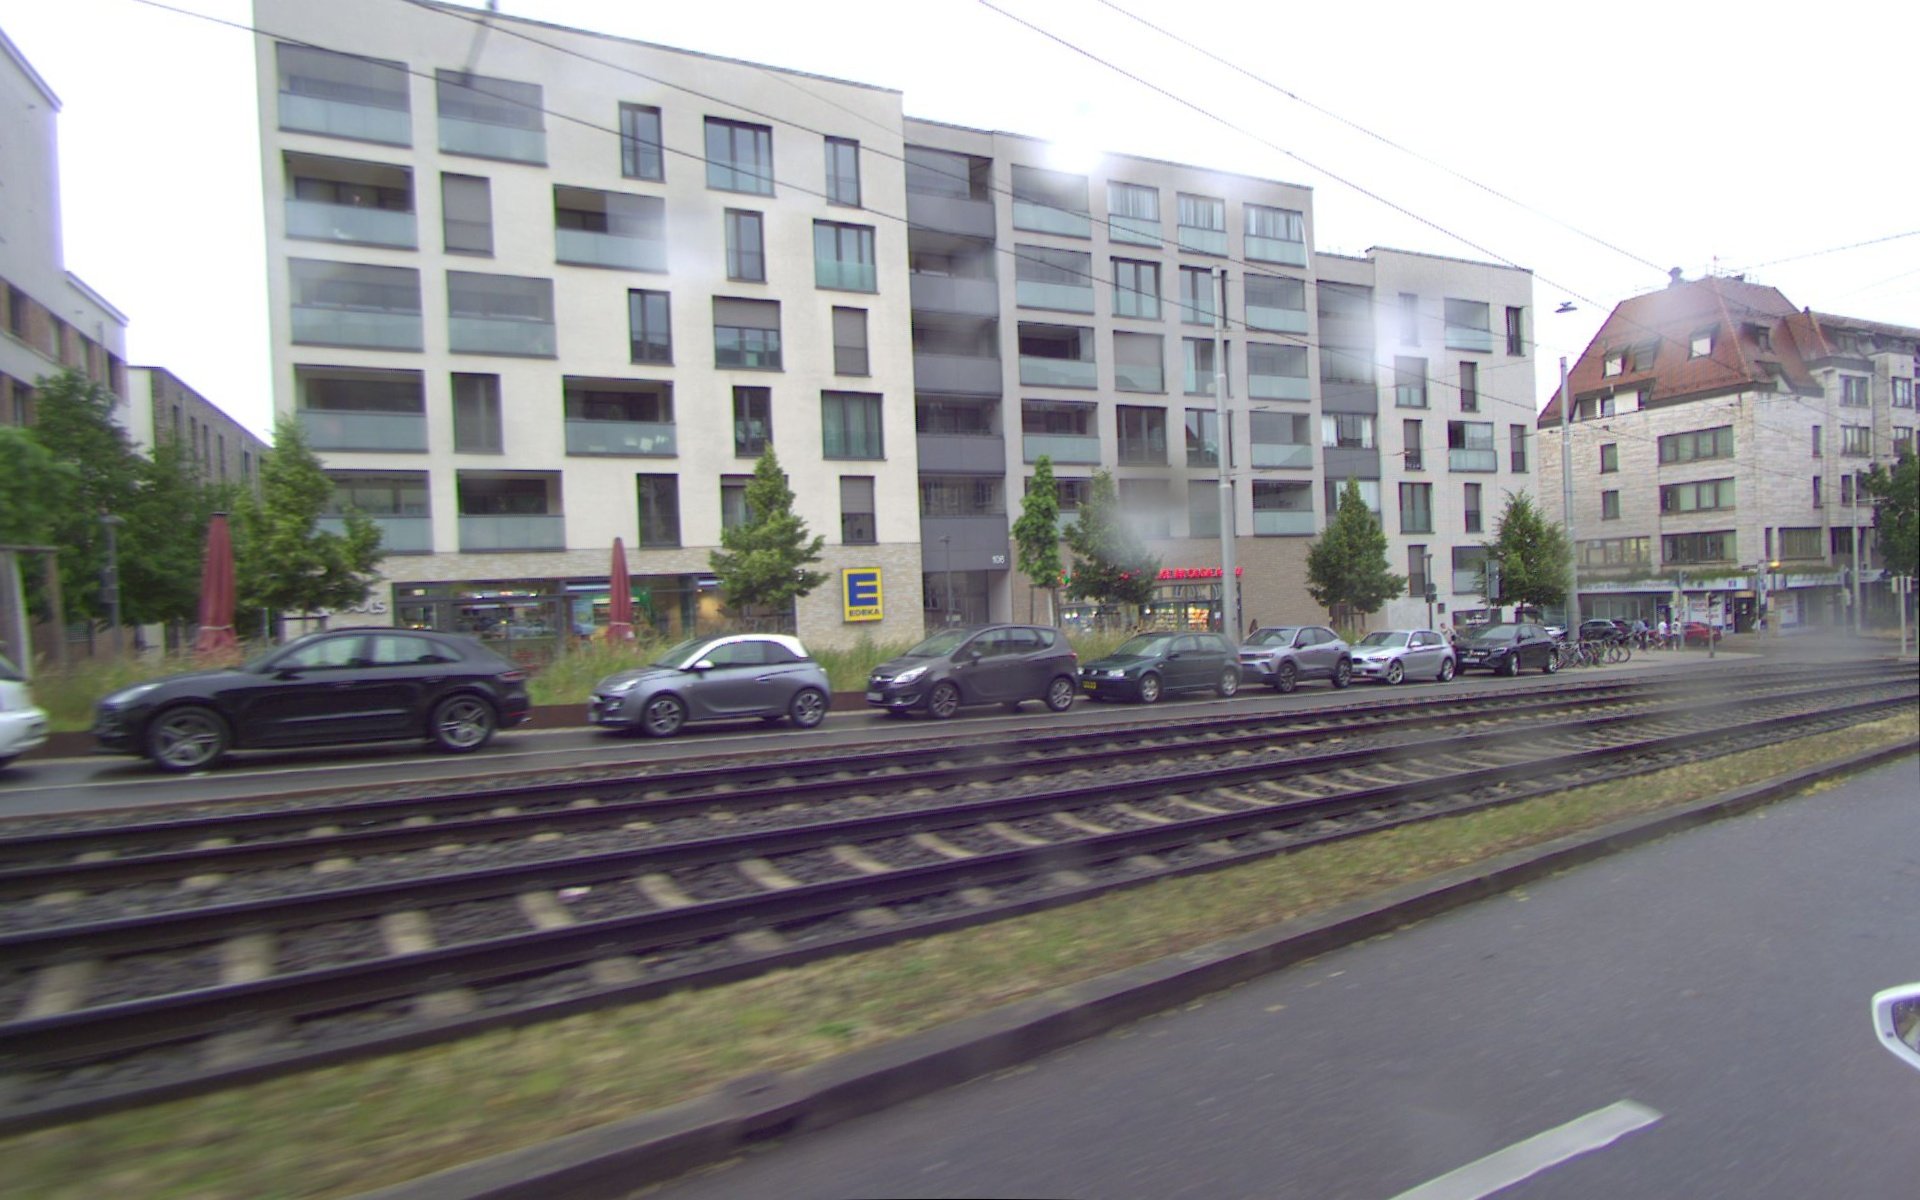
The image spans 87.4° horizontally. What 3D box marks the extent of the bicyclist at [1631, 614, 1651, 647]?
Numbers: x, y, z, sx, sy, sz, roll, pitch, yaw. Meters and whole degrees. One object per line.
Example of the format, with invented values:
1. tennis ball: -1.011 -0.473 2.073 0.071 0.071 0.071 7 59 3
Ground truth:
1. bicyclist: 33.034 1.463 48.743 0.688 1.595 0.463 0 -1 15

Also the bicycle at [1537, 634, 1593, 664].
1. bicycle: 22.632 1.820 37.599 1.776 1.078 0.455 0 0 41

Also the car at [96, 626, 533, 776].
1. car: -7.873 1.134 12.641 4.361 1.582 1.754 1 -2 -35

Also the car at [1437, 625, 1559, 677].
1. car: 16.875 1.562 31.427 4.201 1.523 1.897 1 -3 -39

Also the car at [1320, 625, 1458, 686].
1. car: 11.677 1.447 27.223 4.049 1.523 1.759 1 -3 -39

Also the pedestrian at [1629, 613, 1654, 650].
1. pedestrian: 37.474 1.730 55.199 0.758 2.040 0.934 0 -1 -39

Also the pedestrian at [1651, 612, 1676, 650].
1. pedestrian: 37.825 1.672 54.020 0.758 2.040 0.934 0 -1 -39

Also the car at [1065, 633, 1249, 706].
1. car: 4.245 1.418 21.401 3.970 1.380 1.539 1 -1 -35

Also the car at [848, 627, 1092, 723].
1. car: 0.251 1.288 18.319 4.275 1.533 1.708 1 -2 -35

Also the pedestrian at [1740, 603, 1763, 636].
1. pedestrian: 47.638 1.175 60.454 0.818 1.957 0.898 0 -1 -39

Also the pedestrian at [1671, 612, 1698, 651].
1. pedestrian: 38.299 1.646 53.103 0.757 2.040 0.935 0 -1 -35

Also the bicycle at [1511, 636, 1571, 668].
1. bicycle: 20.487 1.828 35.457 1.778 1.078 0.454 -1 -1 44

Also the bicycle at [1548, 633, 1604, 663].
1. bicycle: 24.046 1.860 39.222 1.777 1.078 0.566 -1 -1 43

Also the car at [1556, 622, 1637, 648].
1. car: 41.054 2.259 64.893 1.799 1.589 4.120 0 -1 -26

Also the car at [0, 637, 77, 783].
1. car: -11.750 1.149 10.315 3.688 1.498 1.758 0 -2 -29

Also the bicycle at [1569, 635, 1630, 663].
1. bicycle: 25.605 1.936 40.233 0.716 1.041 1.930 0 -1 -44

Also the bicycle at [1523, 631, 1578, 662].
1. bicycle: 21.865 1.722 37.210 0.480 1.086 1.759 0 -1 -32

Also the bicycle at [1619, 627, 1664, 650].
1. bicycle: 33.051 1.863 48.735 1.766 1.078 0.457 0 0 15

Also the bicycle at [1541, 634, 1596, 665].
1. bicycle: 23.137 1.862 38.218 1.773 1.123 0.454 0 0 35

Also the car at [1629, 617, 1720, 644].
1. car: 42.884 1.826 60.357 1.799 1.589 4.120 0 -1 -26

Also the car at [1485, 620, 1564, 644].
1. car: 38.731 2.188 68.974 1.883 1.589 4.445 0 -1 -26

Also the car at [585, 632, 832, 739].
1. car: -3.849 1.244 15.544 3.416 1.454 1.539 1 -2 -35

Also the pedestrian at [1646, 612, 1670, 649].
1. pedestrian: 38.829 1.704 55.881 0.758 2.040 0.934 0 -1 -39

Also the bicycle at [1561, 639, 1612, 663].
1. bicycle: 24.670 1.995 39.576 1.633 0.877 0.565 -1 -1 45

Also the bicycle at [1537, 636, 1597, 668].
1. bicycle: 21.601 1.846 35.756 1.776 1.078 0.455 0 0 41

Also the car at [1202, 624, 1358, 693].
1. car: 7.767 1.371 24.272 3.888 1.523 1.759 1 -3 -39
